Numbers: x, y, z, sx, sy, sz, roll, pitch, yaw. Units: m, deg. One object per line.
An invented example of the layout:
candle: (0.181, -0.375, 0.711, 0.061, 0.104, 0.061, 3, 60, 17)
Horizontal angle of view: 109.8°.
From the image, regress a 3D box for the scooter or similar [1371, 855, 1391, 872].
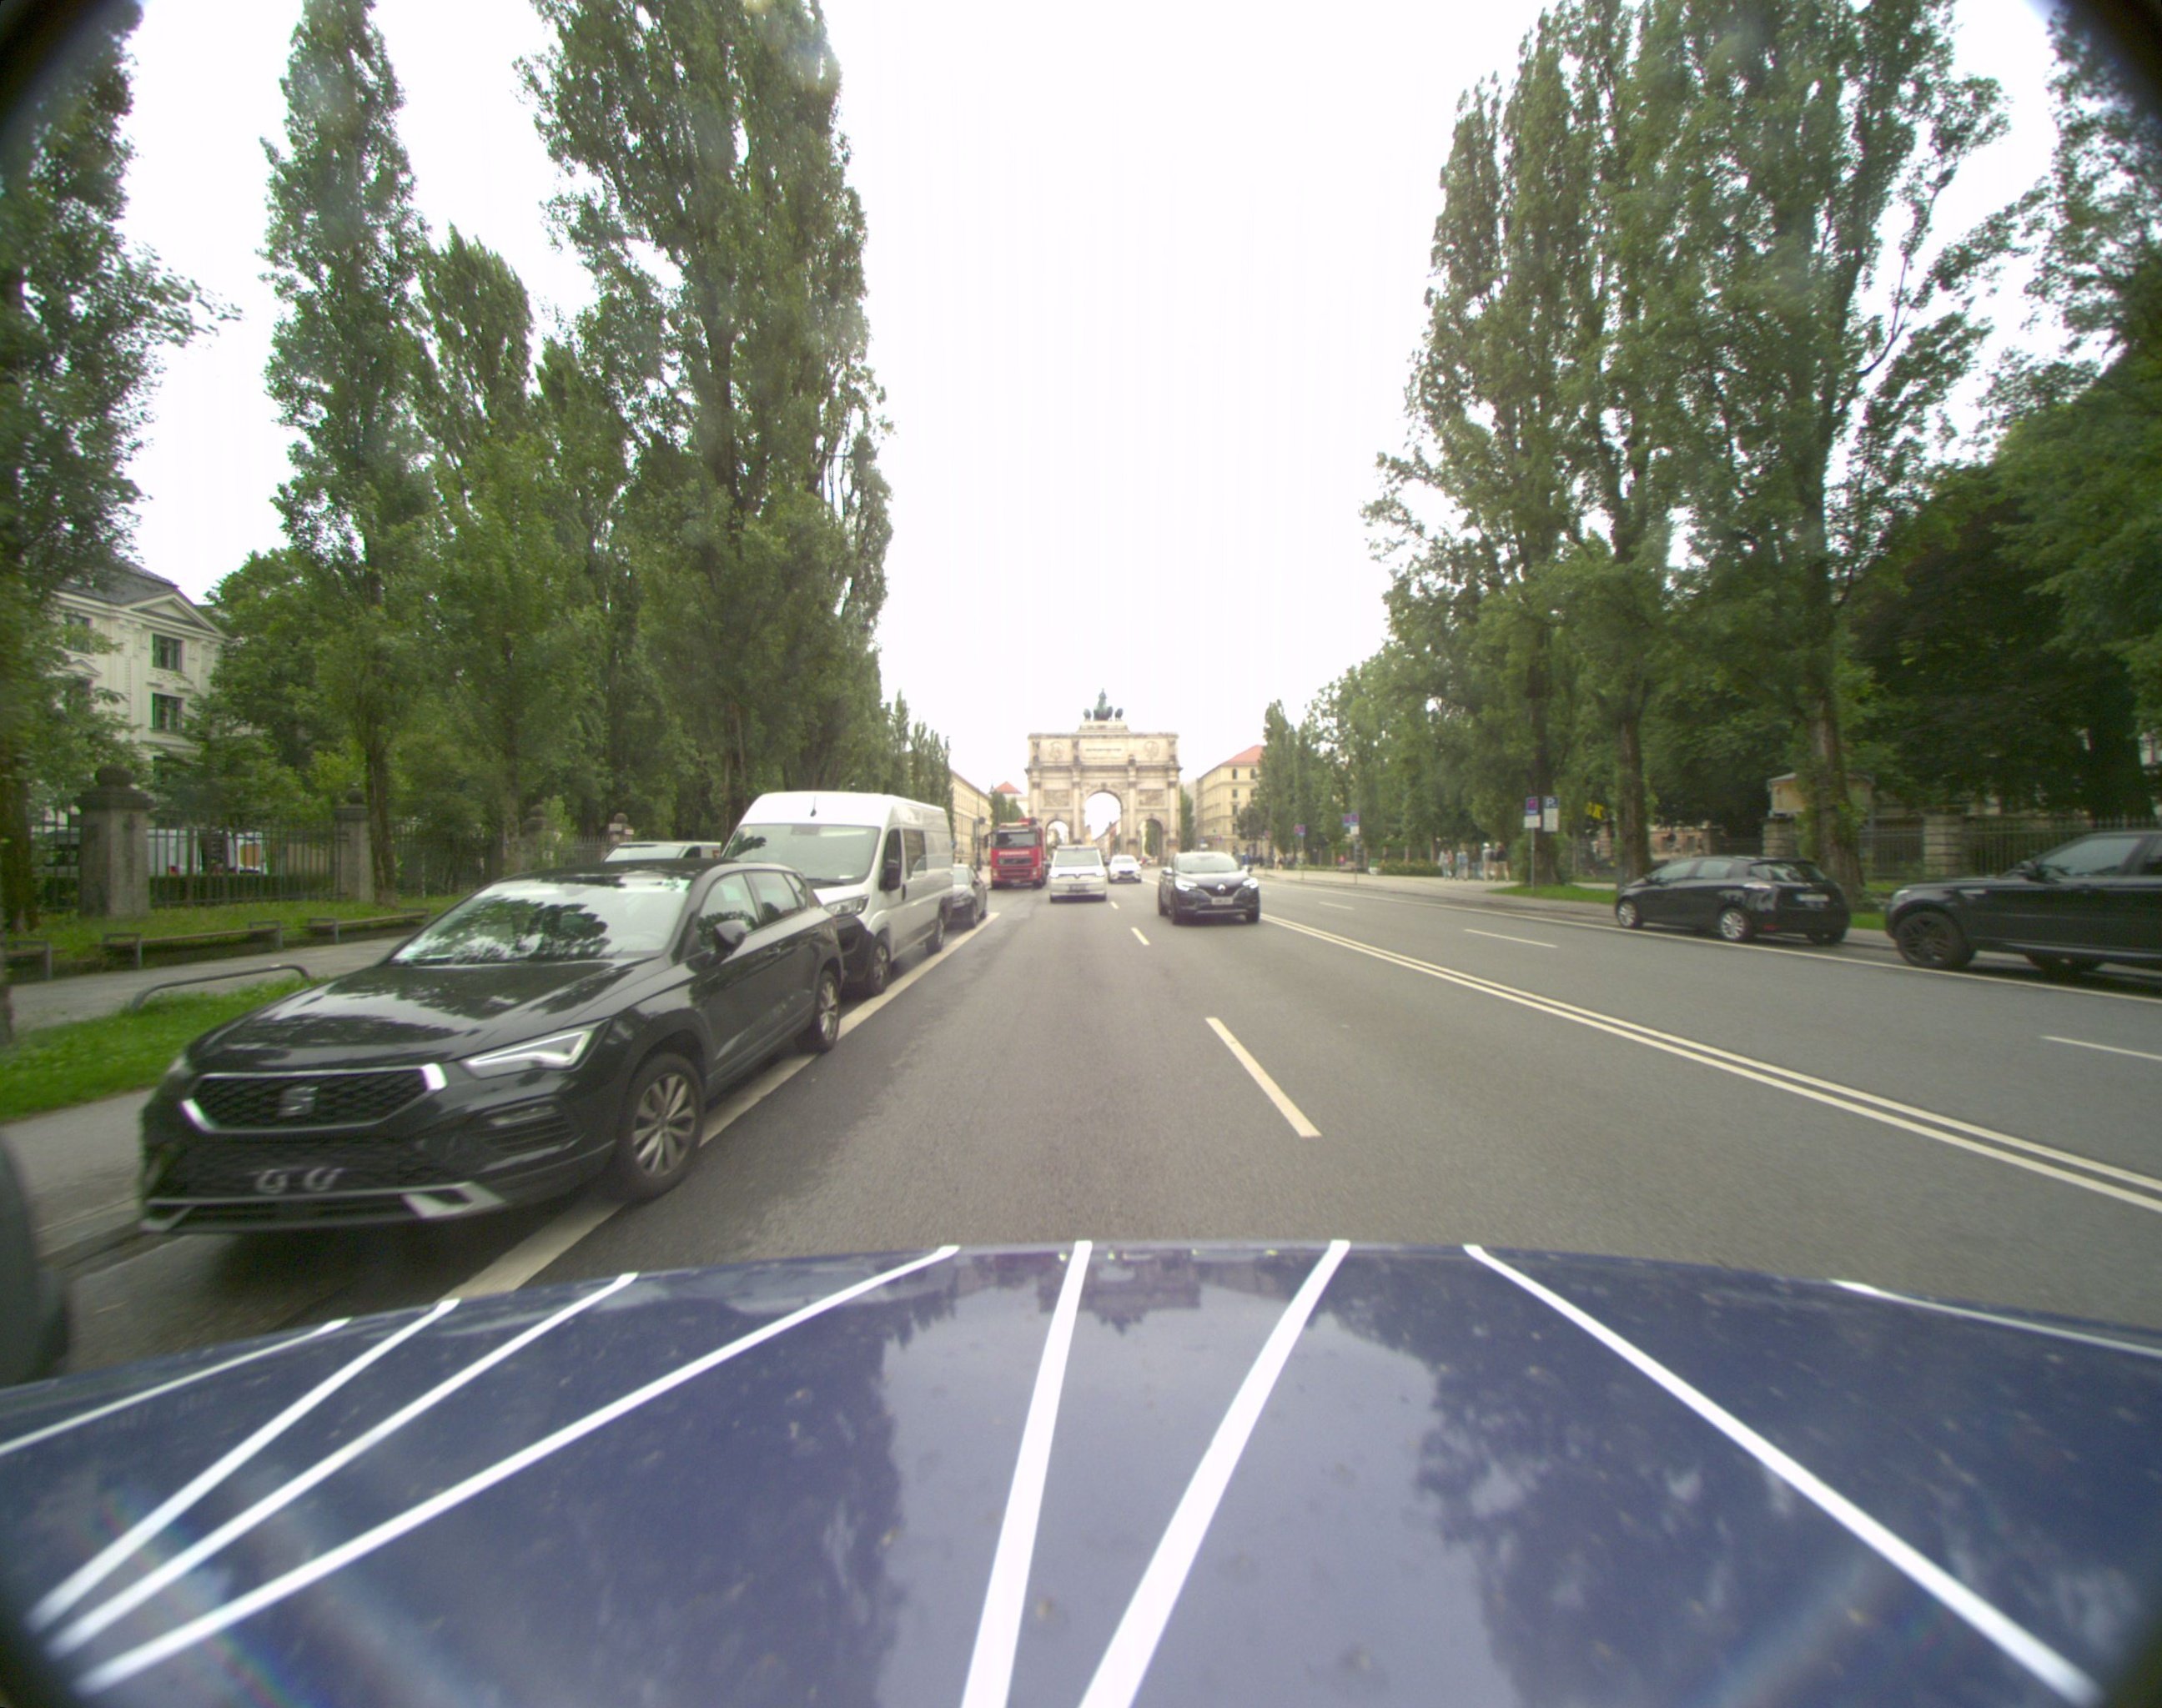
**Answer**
scooter or similar: (21.326, 0.646, 54.058, 0.747, 1.171, 1.415, 1, 0, -5)

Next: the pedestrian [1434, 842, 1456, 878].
pedestrian: (18.066, 0.282, 37.699, 0.631, 1.737, 0.908, -1, 0, -1)

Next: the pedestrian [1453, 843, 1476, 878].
pedestrian: (19.039, 0.313, 37.761, 0.689, 1.690, 0.885, -1, 0, -1)

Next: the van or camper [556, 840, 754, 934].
van or camper: (-10.051, 0.694, 18.528, 1.980, 1.922, 5.037, -2, 0, -1)

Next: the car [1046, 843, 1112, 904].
car: (-0.044, 0.603, 27.333, 2.064, 1.916, 5.728, -1, 0, 1)

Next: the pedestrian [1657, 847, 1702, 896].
pedestrian: (19.058, 0.554, 24.214, 0.720, 1.539, 0.875, -1, 0, -1)

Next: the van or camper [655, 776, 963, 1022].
van or camper: (-3.308, 0.457, 11.076, 2.144, 2.525, 6.416, -1, 0, 0)

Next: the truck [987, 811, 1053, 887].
truck: (-3.099, -0.237, 41.341, 2.852, 3.543, 10.277, -1, 0, -1)

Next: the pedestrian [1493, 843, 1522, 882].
pedestrian: (19.984, 0.386, 35.606, 0.711, 1.762, 1.092, -2, 1, -1)

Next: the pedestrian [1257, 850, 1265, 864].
pedestrian: (22.394, 0.381, 94.501, 0.959, 1.708, 1.031, -2, 1, 12)

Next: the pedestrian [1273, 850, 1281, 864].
pedestrian: (26.524, 0.417, 102.899, 0.990, 1.860, 1.031, -2, 1, 10)

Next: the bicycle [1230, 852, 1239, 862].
bicycle: (16.220, 0.307, 80.277, 0.470, 0.947, 1.913, -2, 0, -1)

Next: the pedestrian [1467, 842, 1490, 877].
pedestrian: (19.793, 0.262, 37.863, 0.661, 1.706, 0.911, -1, 0, -1)

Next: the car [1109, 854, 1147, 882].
car: (2.592, 0.764, 42.916, 1.910, 1.516, 4.009, -1, 0, 1)

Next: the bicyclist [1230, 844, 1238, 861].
bicyclist: (16.185, -0.171, 80.258, 0.591, 1.812, 0.661, -2, 1, -2)

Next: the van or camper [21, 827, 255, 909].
van or camper: (-32.513, 0.457, 26.332, 5.223, 2.690, 2.249, -1, 0, 0)

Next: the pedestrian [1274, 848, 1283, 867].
pedestrian: (17.838, 0.313, 68.586, 0.533, 1.720, 0.583, -1, 1, -11)

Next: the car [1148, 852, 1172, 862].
car: (14.119, 0.494, 136.480, 2.004, 1.739, 3.989, -1, 0, -40)

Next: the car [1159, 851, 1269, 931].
car: (2.918, 0.745, 17.533, 1.840, 1.576, 4.185, -1, 0, 1)

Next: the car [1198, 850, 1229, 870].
car: (11.545, 0.496, 66.429, 1.797, 1.330, 4.464, -1, 5, -2)

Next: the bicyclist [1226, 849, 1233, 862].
bicyclist: (17.896, 0.198, 91.305, 0.647, 1.583, 0.661, -2, 1, -2)

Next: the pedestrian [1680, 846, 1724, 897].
pedestrian: (19.794, 0.551, 24.226, 0.720, 1.595, 0.813, -1, 0, -1)

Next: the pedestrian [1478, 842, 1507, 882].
pedestrian: (19.255, 0.379, 35.576, 0.711, 1.823, 1.092, -2, 1, -1)

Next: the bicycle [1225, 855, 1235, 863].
bicycle: (17.893, 0.616, 91.311, 0.674, 0.947, 1.913, -2, 0, -1)

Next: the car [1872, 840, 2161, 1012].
car: (12.196, 0.764, 8.337, 2.051, 1.776, 4.800, 2, 0, 2)

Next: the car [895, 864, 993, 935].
car: (-3.138, 0.998, 18.130, 1.680, 1.412, 3.999, -1, 0, -2)

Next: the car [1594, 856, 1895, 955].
car: (12.331, 0.850, 14.626, 1.949, 1.574, 4.388, 1, 0, 0)

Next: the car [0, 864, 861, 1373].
car: (-2.858, 0.922, 4.793, 1.789, 1.639, 4.417, -1, 0, -2)

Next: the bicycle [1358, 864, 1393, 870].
bicycle: (22.718, 1.009, 58.695, 2.219, 0.450, 1.339, -1, -1, -23)

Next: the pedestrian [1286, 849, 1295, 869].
pedestrian: (17.646, 0.423, 63.921, 0.533, 1.720, 0.583, -1, 1, -11)
